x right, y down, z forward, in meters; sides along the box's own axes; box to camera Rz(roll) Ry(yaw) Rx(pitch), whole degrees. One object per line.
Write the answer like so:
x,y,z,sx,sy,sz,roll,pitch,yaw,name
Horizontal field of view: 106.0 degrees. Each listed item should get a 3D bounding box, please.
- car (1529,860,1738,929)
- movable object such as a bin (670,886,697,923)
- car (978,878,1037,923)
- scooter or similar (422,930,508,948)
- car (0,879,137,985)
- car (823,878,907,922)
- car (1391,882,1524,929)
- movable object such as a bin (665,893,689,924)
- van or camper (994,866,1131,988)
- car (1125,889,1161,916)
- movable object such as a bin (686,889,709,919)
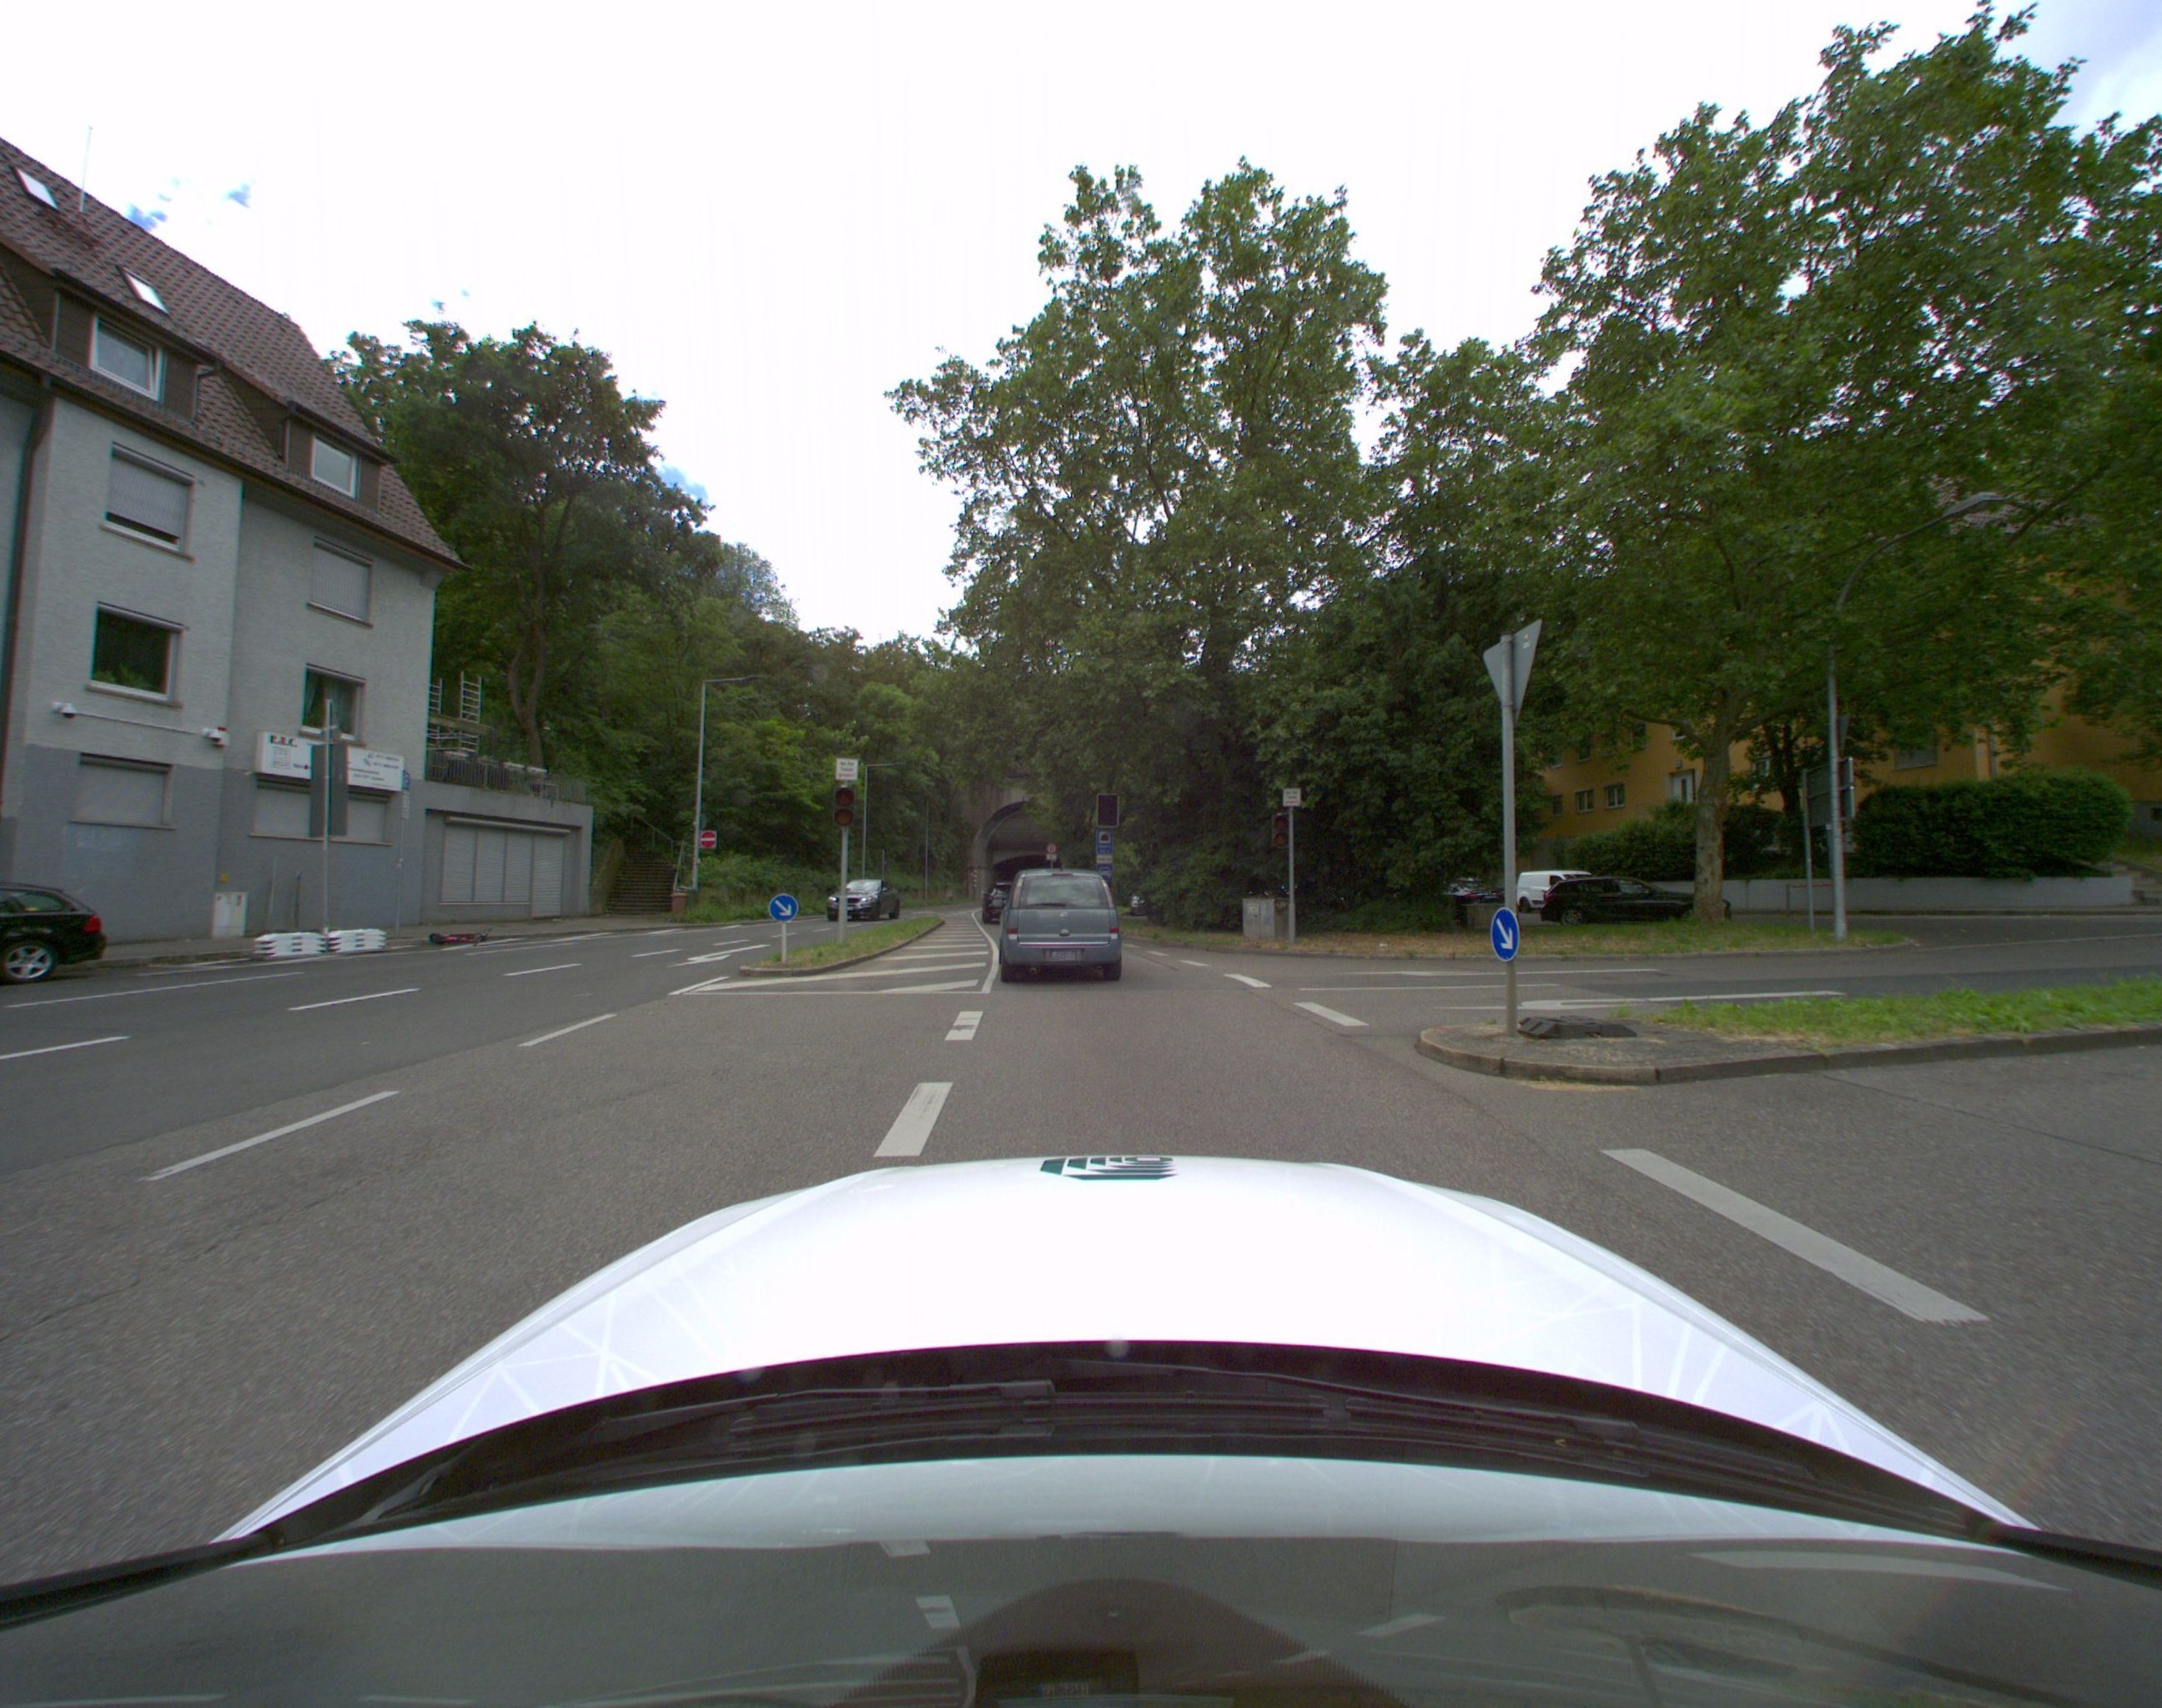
14.691,1.105,21.799,4.368,1.485,1.875,-7,-3,38,car
-13.306,1.675,27.237,0.604,1.186,0.490,4,-2,-9,movable object such as a bin
-3.018,1.828,32.673,1.994,1.653,3.985,0,-3,-11,car
-13.706,1.887,18.169,1.123,0.288,1.095,-1,-2,-9,scooter or similar
-15.605,1.045,10.215,1.983,1.400,4.527,0,-1,7,car
-8.791,1.852,33.613,1.862,1.699,4.939,0,-2,3,car
14.053,1.895,30.791,1.995,1.578,4.882,0,-2,-13,car
-13.230,1.781,26.694,0.515,0.967,0.443,4,-2,-9,movable object such as a bin
-0.428,1.003,12.543,1.734,1.578,3.636,0,-2,-7,van or camper
3.494,2.732,46.411,1.778,1.442,5.063,-1,-2,1,car
-13.647,1.778,28.967,0.555,1.025,0.429,4,-2,-9,movable object such as a bin
